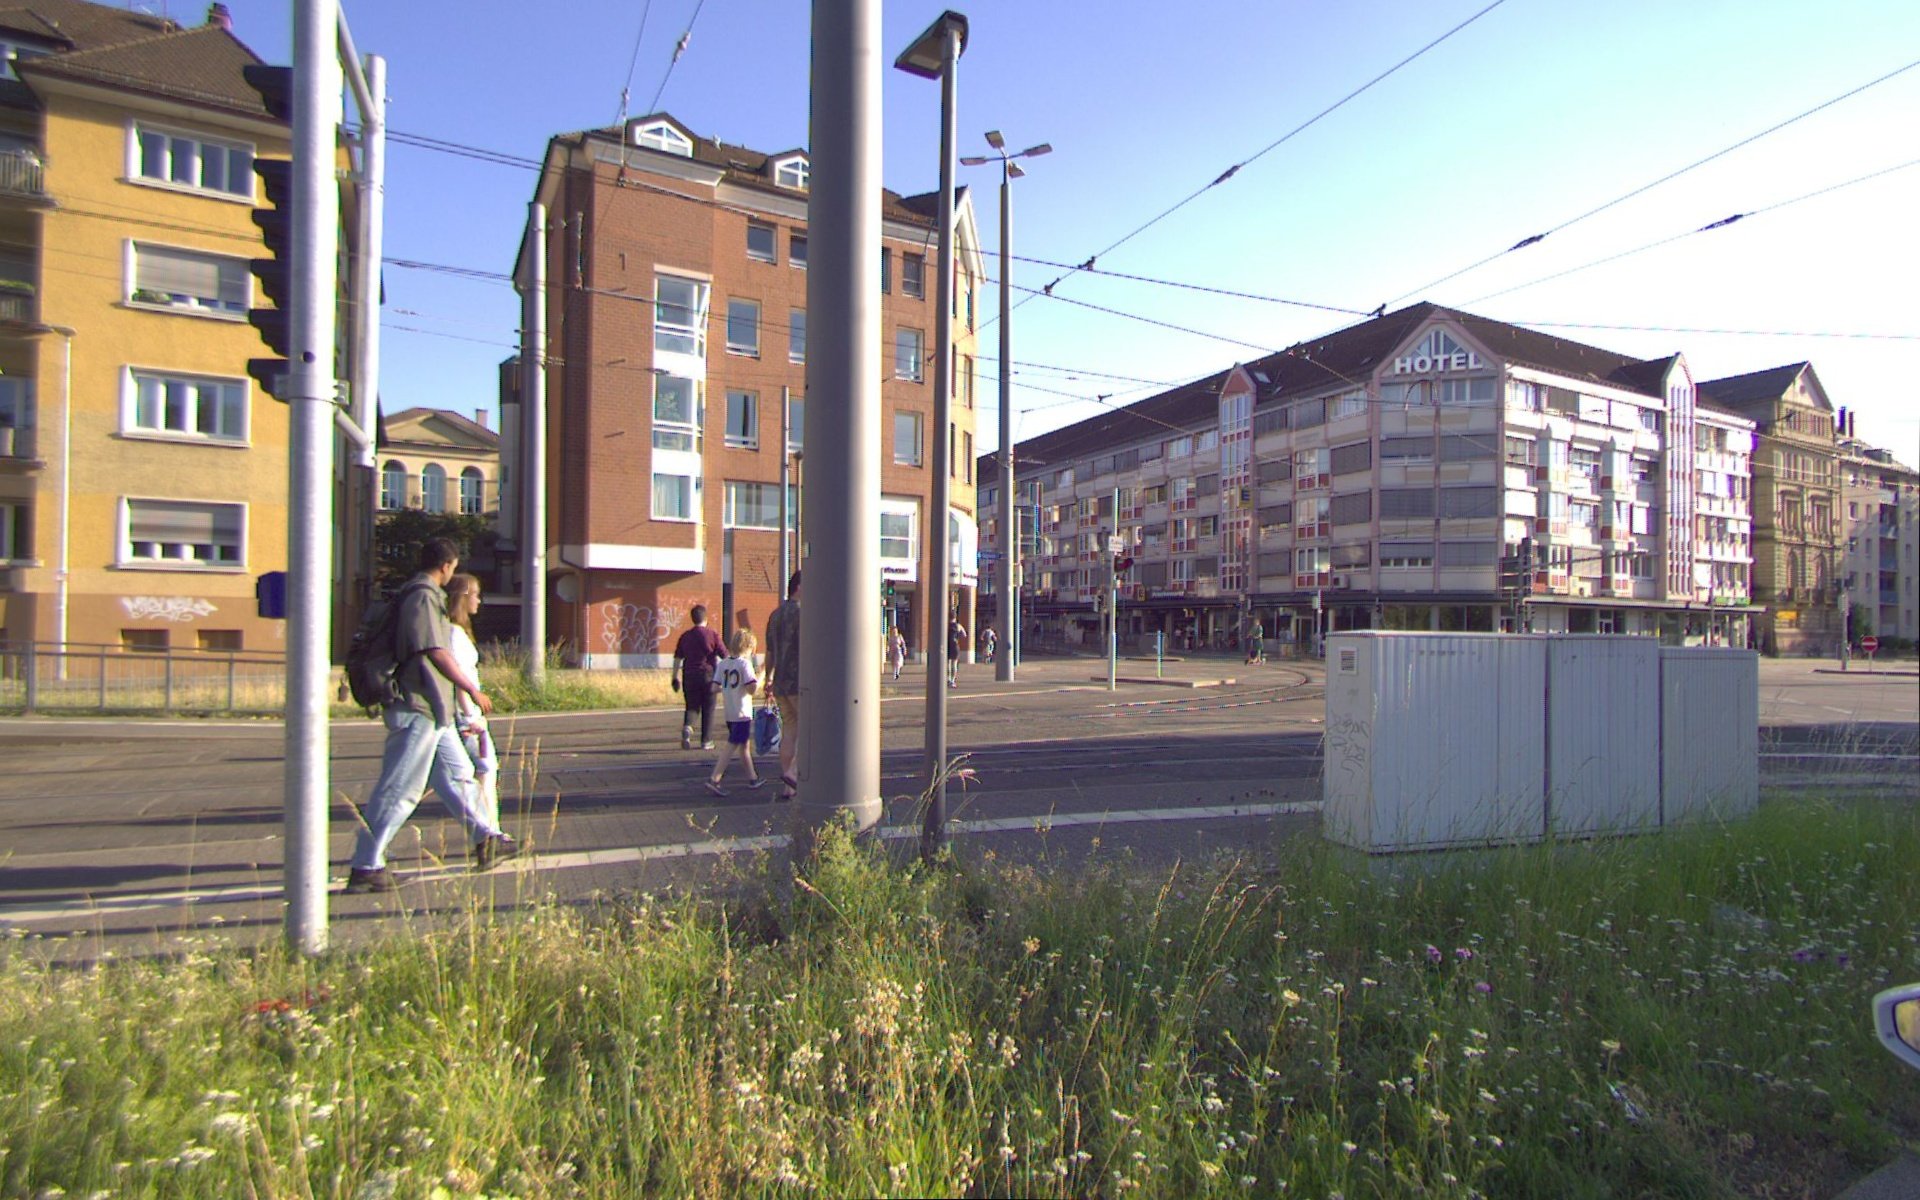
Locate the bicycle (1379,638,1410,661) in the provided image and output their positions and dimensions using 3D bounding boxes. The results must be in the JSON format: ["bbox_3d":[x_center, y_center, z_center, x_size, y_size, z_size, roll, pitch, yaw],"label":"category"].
[{"bbox_3d":[24.203,2.763,55.955,1.746,1.160,0.636,-1,1,-27],"label":"bicycle"}]

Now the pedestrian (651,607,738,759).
[{"bbox_3d":[-2.929,0.891,11.078,0.779,1.609,0.604,2,0,-28],"label":"pedestrian"}]

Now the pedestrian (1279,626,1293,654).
[{"bbox_3d":[20.282,2.480,62.488,0.612,1.717,0.866,2,0,29],"label":"pedestrian"}]

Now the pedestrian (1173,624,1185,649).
[{"bbox_3d":[16.672,2.755,76.420,0.601,1.877,0.601,2,0,-20],"label":"pedestrian"}]

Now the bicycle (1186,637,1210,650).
[{"bbox_3d":[17.102,3.120,72.268,0.494,0.929,2.066,2,-2,-24],"label":"bicycle"}]

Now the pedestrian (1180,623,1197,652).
[{"bbox_3d":[13.908,2.284,61.143,0.773,1.682,0.677,2,0,-35],"label":"pedestrian"}]

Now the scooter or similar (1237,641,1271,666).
[{"bbox_3d":[12.211,2.214,41.700,1.311,1.019,0.484,2,0,-23],"label":"scooter or similar"}]

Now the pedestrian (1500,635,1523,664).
[{"bbox_3d":[29.037,2.615,52.894,0.847,1.472,0.700,2,0,-34],"label":"pedestrian"}]

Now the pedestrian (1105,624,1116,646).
[{"bbox_3d":[12.562,2.889,83.862,0.804,1.802,0.680,2,0,0],"label":"pedestrian"}]

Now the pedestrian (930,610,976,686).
[{"bbox_3d":[-0.160,1.144,24.192,0.824,1.781,0.687,2,0,-44],"label":"pedestrian"}]

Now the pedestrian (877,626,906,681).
[{"bbox_3d":[-2.071,1.605,30.445,0.825,1.605,0.683,2,0,-3],"label":"pedestrian"}]

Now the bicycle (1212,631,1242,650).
[{"bbox_3d":[18.470,2.804,69.584,0.720,1.243,2.319,2,-2,-24],"label":"bicycle"}]

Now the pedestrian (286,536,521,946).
[{"bbox_3d":[-2.757,0.642,5.030,0.889,1.825,0.782,3,-1,-29],"label":"pedestrian"}]

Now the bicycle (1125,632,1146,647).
[{"bbox_3d":[14.197,3.179,81.191,1.630,1.134,0.561,2,0,-30],"label":"bicycle"}]

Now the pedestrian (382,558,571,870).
[{"bbox_3d":[-2.857,0.616,5.917,0.890,1.662,0.781,2,0,-32],"label":"pedestrian"}]

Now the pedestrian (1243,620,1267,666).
[{"bbox_3d":[12.241,1.792,41.684,0.713,1.872,0.559,2,0,-23],"label":"pedestrian"}]

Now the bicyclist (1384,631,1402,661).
[{"bbox_3d":[24.077,2.536,55.885,0.649,1.618,0.636,-1,1,-26],"label":"bicyclist"}]

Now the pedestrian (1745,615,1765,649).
[{"bbox_3d":[57.823,2.310,73.087,0.953,2.430,0.918,2,0,-40],"label":"pedestrian"}]

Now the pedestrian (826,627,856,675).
[{"bbox_3d":[-4.083,1.733,34.423,0.829,1.605,0.680,2,0,-20],"label":"pedestrian"}]

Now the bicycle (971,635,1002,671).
[{"bbox_3d":[1.140,2.229,42.746,0.573,1.385,2.094,0,1,22],"label":"bicycle"}]

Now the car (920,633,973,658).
[{"bbox_3d":[-0.827,2.578,57.522,1.725,1.261,3.916,2,0,-22],"label":"car"}]

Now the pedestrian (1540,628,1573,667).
[{"bbox_3d":[31.395,2.486,52.903,0.847,1.909,1.187,-9,6,-33],"label":"pedestrian"}]

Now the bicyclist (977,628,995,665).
[{"bbox_3d":[1.120,1.966,42.709,0.555,1.501,0.738,0,1,22],"label":"bicyclist"}]

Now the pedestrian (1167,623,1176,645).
[{"bbox_3d":[16.097,2.619,76.556,0.598,1.656,0.604,0,-4,17],"label":"pedestrian"}]

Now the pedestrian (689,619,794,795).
[{"bbox_3d":[-1.797,0.856,8.287,0.586,1.378,0.607,-1,-3,32],"label":"pedestrian"}]

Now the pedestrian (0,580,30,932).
[{"bbox_3d":[-4.442,0.685,4.196,0.612,1.556,0.782,2,0,-29],"label":"pedestrian"}]

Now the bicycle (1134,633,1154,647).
[{"bbox_3d":[14.644,3.185,79.839,1.630,1.134,0.480,2,0,-30],"label":"bicycle"}]

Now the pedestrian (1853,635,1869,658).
[{"bbox_3d":[67.223,3.483,74.961,0.715,1.717,0.692,2,0,-30],"label":"pedestrian"}]

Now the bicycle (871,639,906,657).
[{"bbox_3d":[-3.903,2.639,55.019,1.813,0.974,0.540,1,1,-27],"label":"bicycle"}]

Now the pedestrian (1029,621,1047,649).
[{"bbox_3d":[4.636,2.081,59.826,0.773,1.682,0.677,2,0,-35],"label":"pedestrian"}]

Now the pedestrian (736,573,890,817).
[{"bbox_3d":[-1.146,0.698,7.928,0.762,1.781,0.898,2,0,31],"label":"pedestrian"}]

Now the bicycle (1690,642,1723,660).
[{"bbox_3d":[48.501,3.299,65.269,2.056,1.085,0.451,2,0,-13],"label":"bicycle"}]
